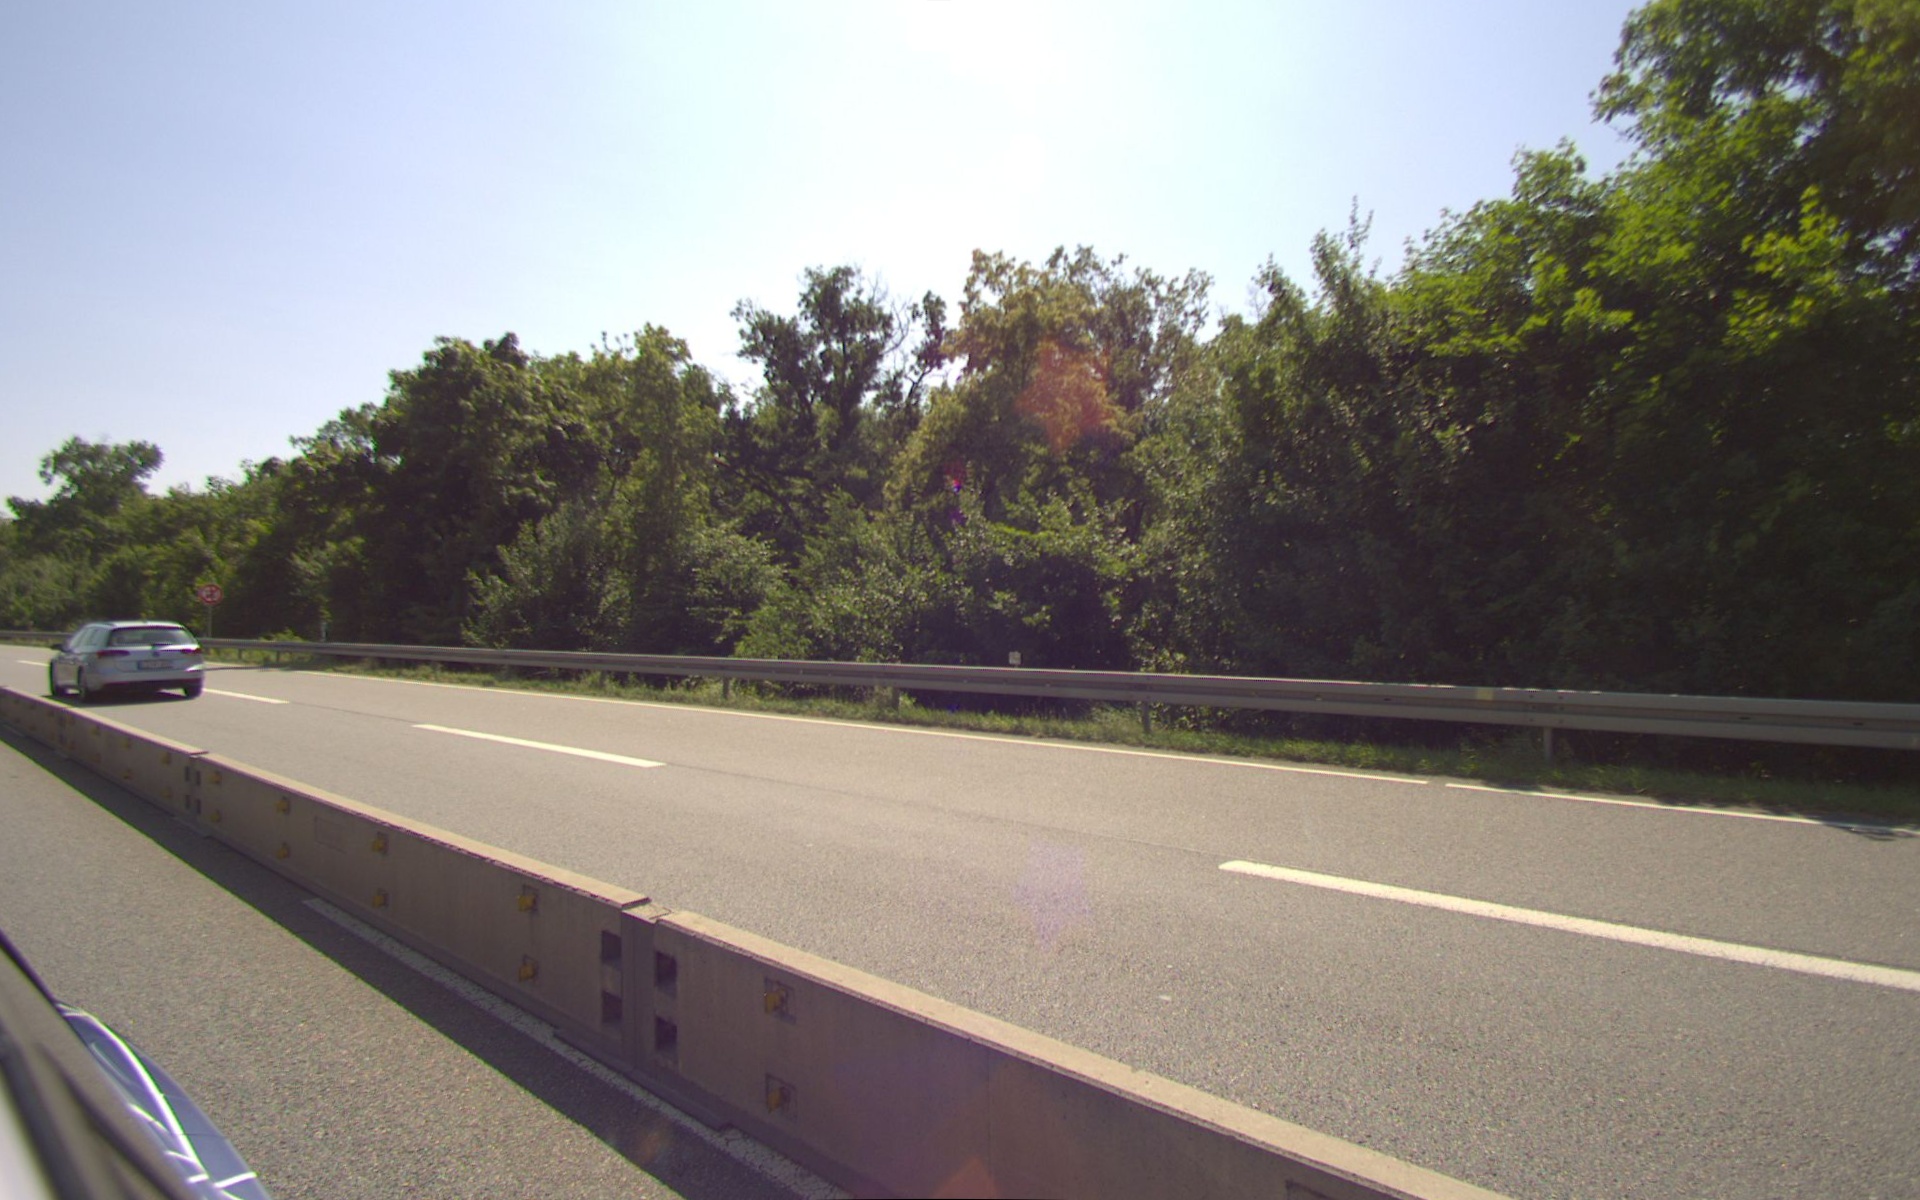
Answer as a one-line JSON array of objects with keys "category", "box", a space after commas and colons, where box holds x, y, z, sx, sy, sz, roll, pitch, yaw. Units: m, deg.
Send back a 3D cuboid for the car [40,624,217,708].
[{"category": "car", "box": [-16.167, 1.199, 19.608, 4.350, 1.432, 1.929, -2, -1, 40]}]
